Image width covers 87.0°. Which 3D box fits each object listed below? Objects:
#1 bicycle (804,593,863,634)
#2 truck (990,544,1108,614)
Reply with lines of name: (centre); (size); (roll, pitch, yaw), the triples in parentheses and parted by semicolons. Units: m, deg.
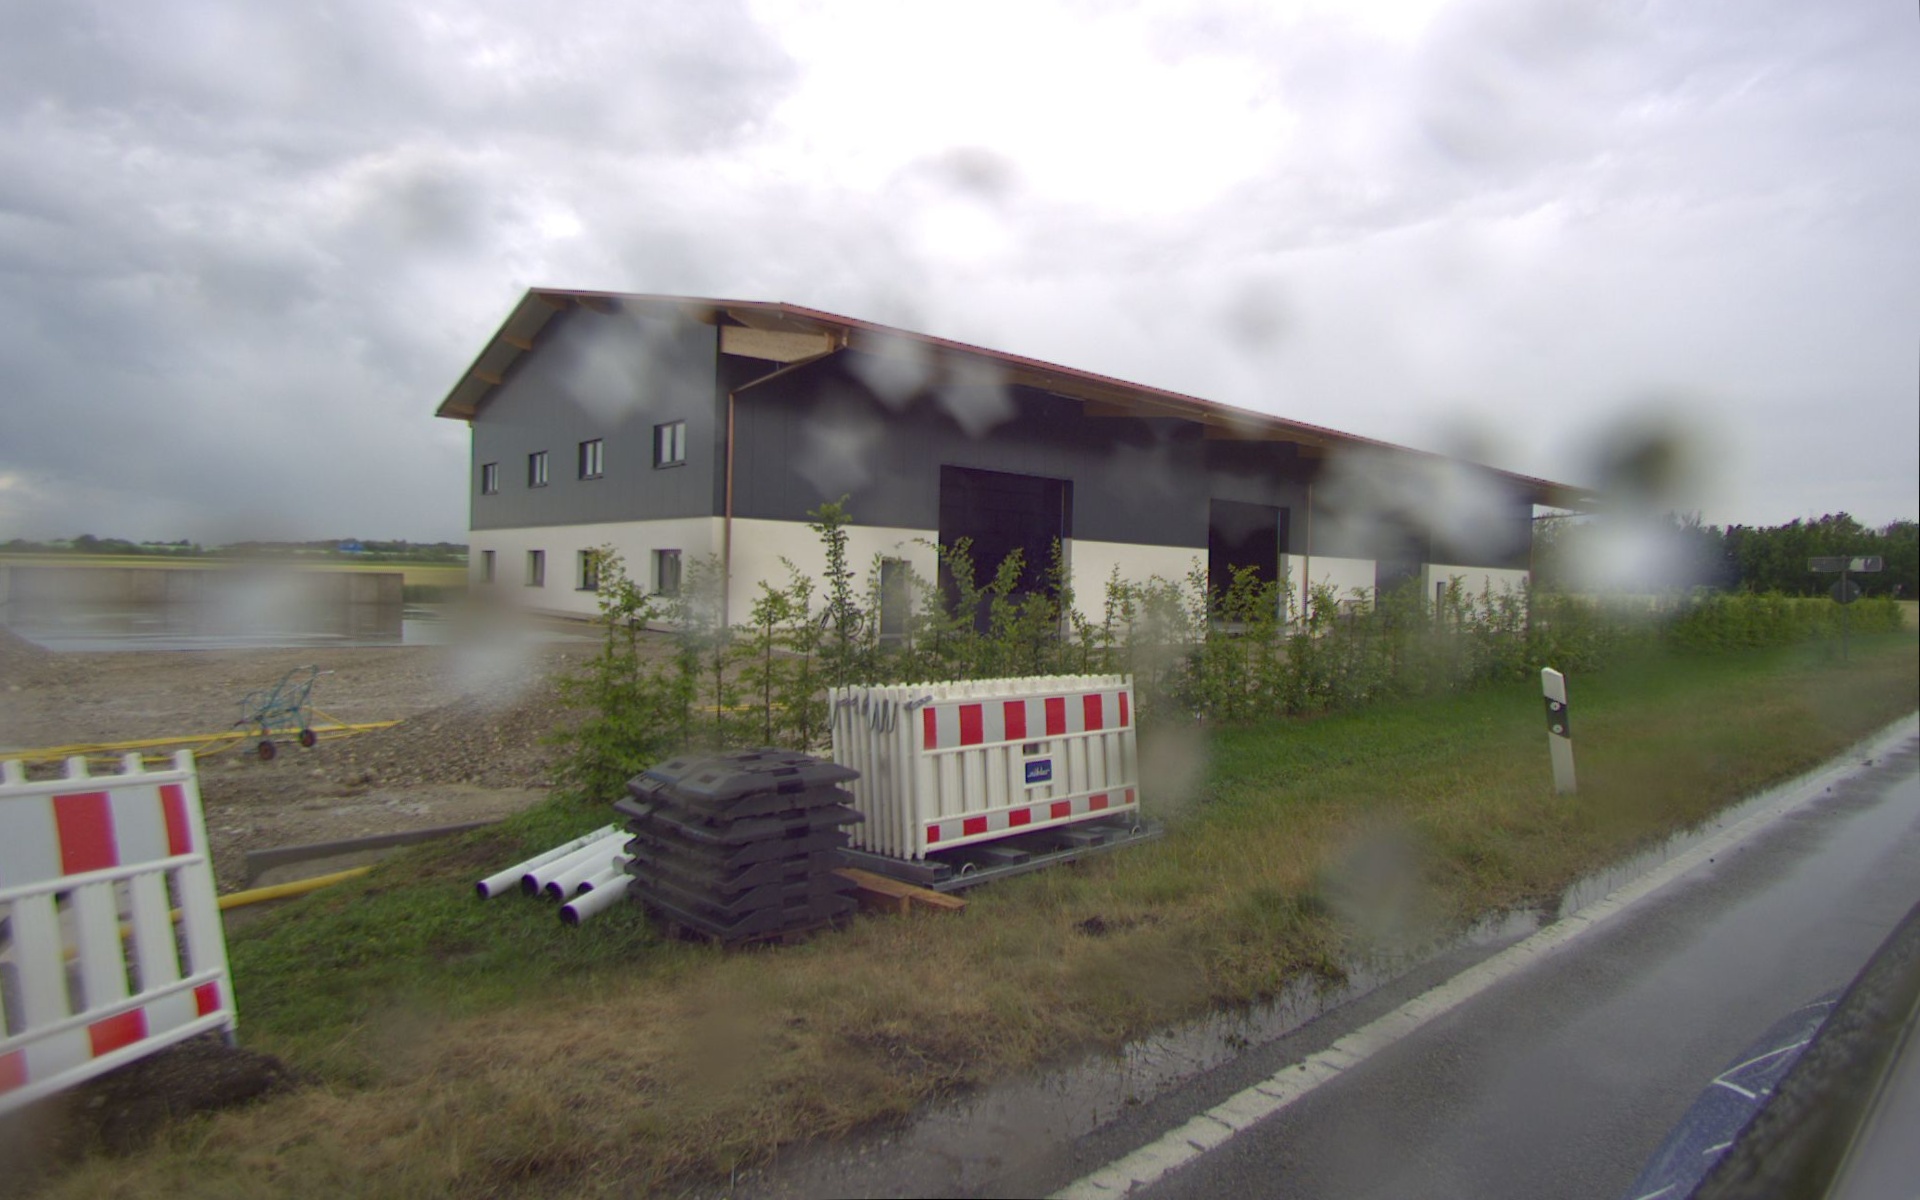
bicycle: (-3.394, 0.349, 27.271); (1.631, 1.085, 0.391); (0, 2, -41)
truck: (4.162, -0.986, 46.984); (5.250, 3.050, 2.495); (0, 2, -41)
